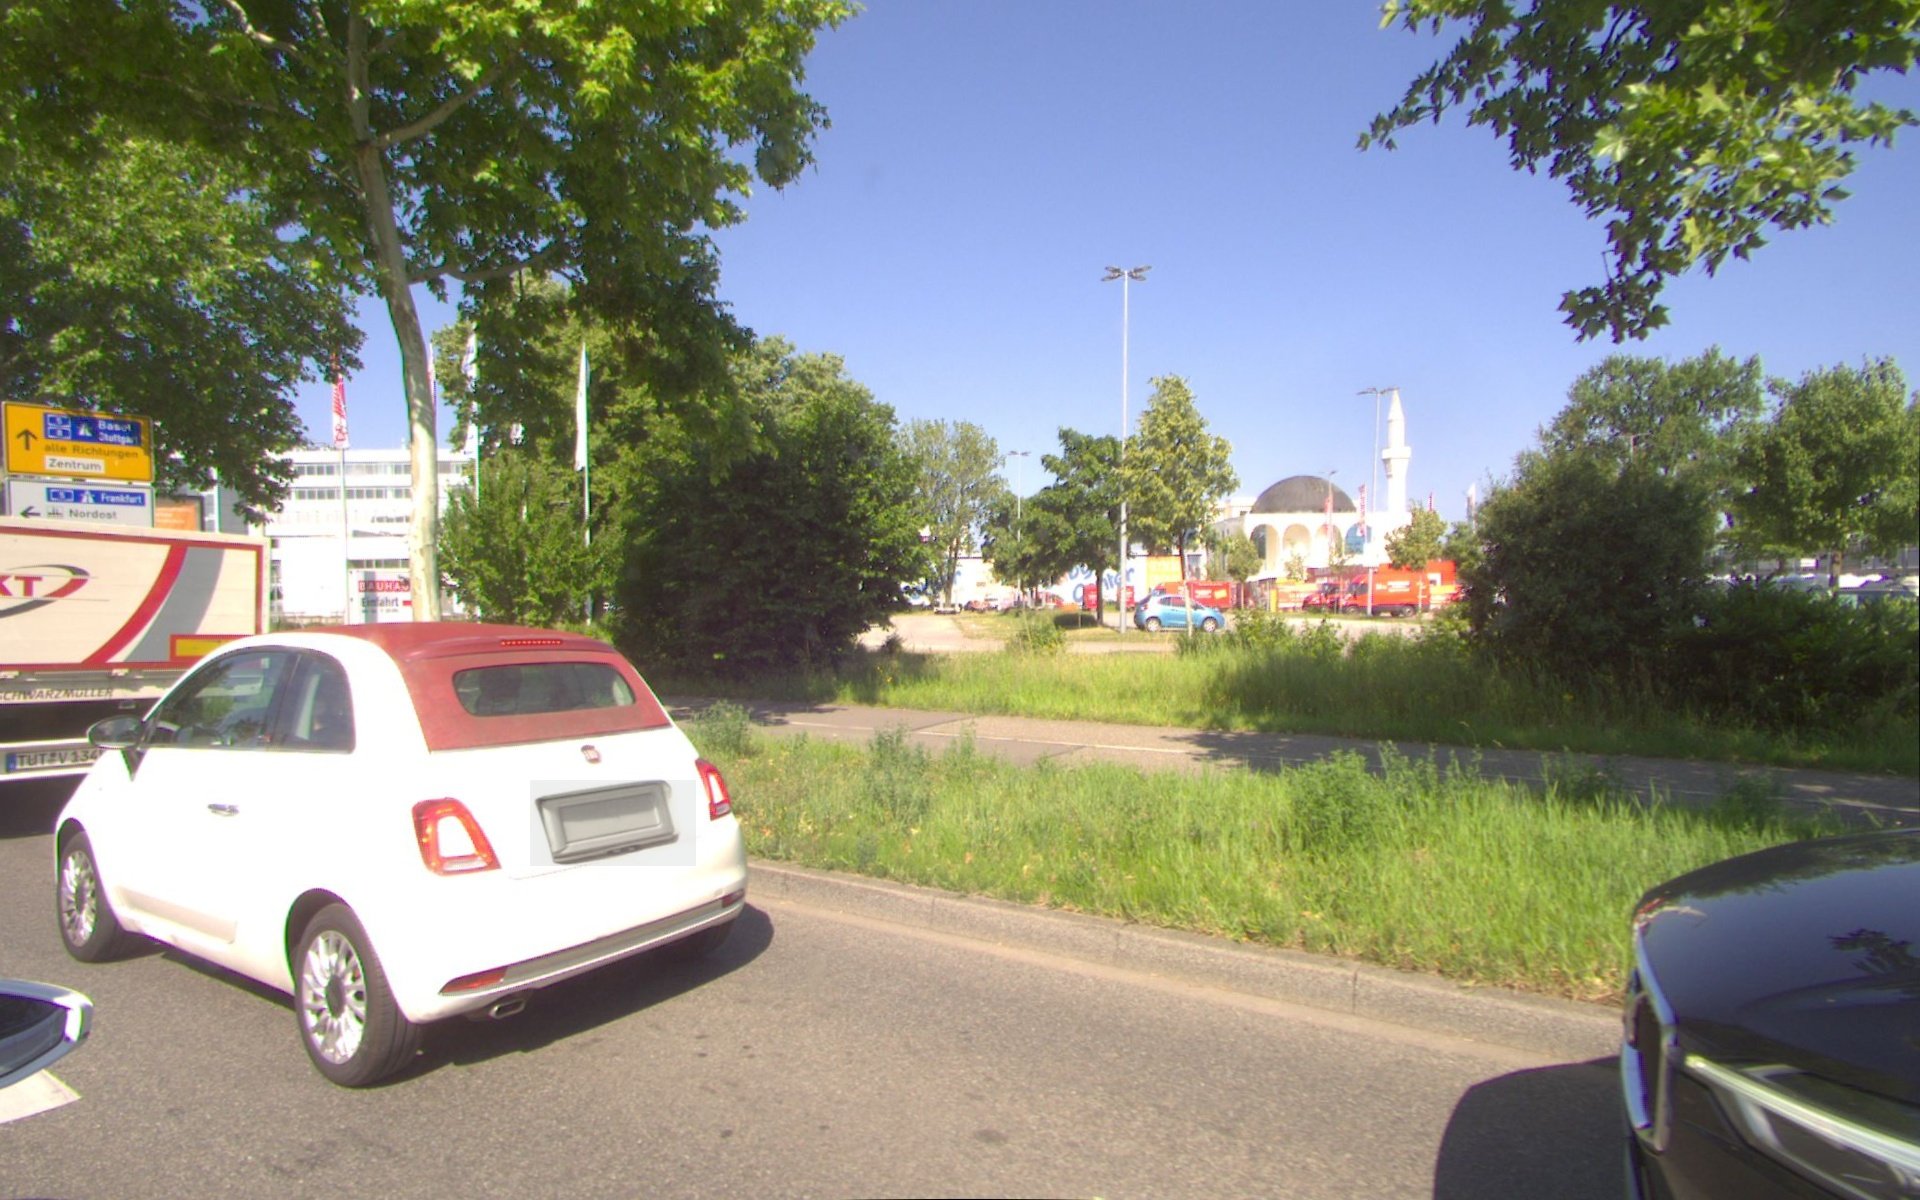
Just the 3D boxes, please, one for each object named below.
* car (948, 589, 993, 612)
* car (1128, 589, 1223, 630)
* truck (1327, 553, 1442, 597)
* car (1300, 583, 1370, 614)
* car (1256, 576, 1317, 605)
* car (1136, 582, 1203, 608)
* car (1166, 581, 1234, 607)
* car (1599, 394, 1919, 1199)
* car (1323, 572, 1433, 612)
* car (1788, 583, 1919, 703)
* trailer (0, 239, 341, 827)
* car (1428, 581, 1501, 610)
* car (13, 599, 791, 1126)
[{"bbox_3d":[0.938,0.043,92.225,3.923,2.040,2.000,0,-1,-6],"label":"car"},{"bbox_3d":[8.571,0.383,39.952,3.387,1.591,1.745,0,-1,-2],"label":"car"},{"bbox_3d":[32.851,-1.927,77.578,8.068,3.290,2.000,0,-1,-2],"label":"truck"},{"bbox_3d":[24.345,-0.078,65.090,3.924,1.884,1.999,-1,-1,11],"label":"car"},{"bbox_3d":[24.331,-0.692,74.722,3.922,2.040,2.001,0,-1,2],"label":"car"},{"bbox_3d":[17.432,-0.420,83.457,5.188,2.040,2.000,0,-1,-4],"label":"car"},{"bbox_3d":[18.599,-0.440,77.650,4.824,1.906,1.770,0,-1,2],"label":"car"},{"bbox_3d":[3.157,0.601,0.719,4.500,1.643,1.916,-1,-1,32],"label":"car"},{"bbox_3d":[25.591,-0.449,61.434,5.822,2.371,2.115,0,-1,1],"label":"car"},{"bbox_3d":[14.643,0.657,15.893,1.694,1.718,3.544,-1,-1,29],"label":"car"},{"bbox_3d":[-10.913,-0.314,10.249,12.069,3.789,3.010,-1,-1,33],"label":"trailer"},{"bbox_3d":[36.888,-0.324,73.306,4.304,2.040,2.000,0,-1,-3],"label":"car"},{"bbox_3d":[-2.588,0.772,4.441,3.472,1.455,1.657,-1,-1,34],"label":"car"}]
